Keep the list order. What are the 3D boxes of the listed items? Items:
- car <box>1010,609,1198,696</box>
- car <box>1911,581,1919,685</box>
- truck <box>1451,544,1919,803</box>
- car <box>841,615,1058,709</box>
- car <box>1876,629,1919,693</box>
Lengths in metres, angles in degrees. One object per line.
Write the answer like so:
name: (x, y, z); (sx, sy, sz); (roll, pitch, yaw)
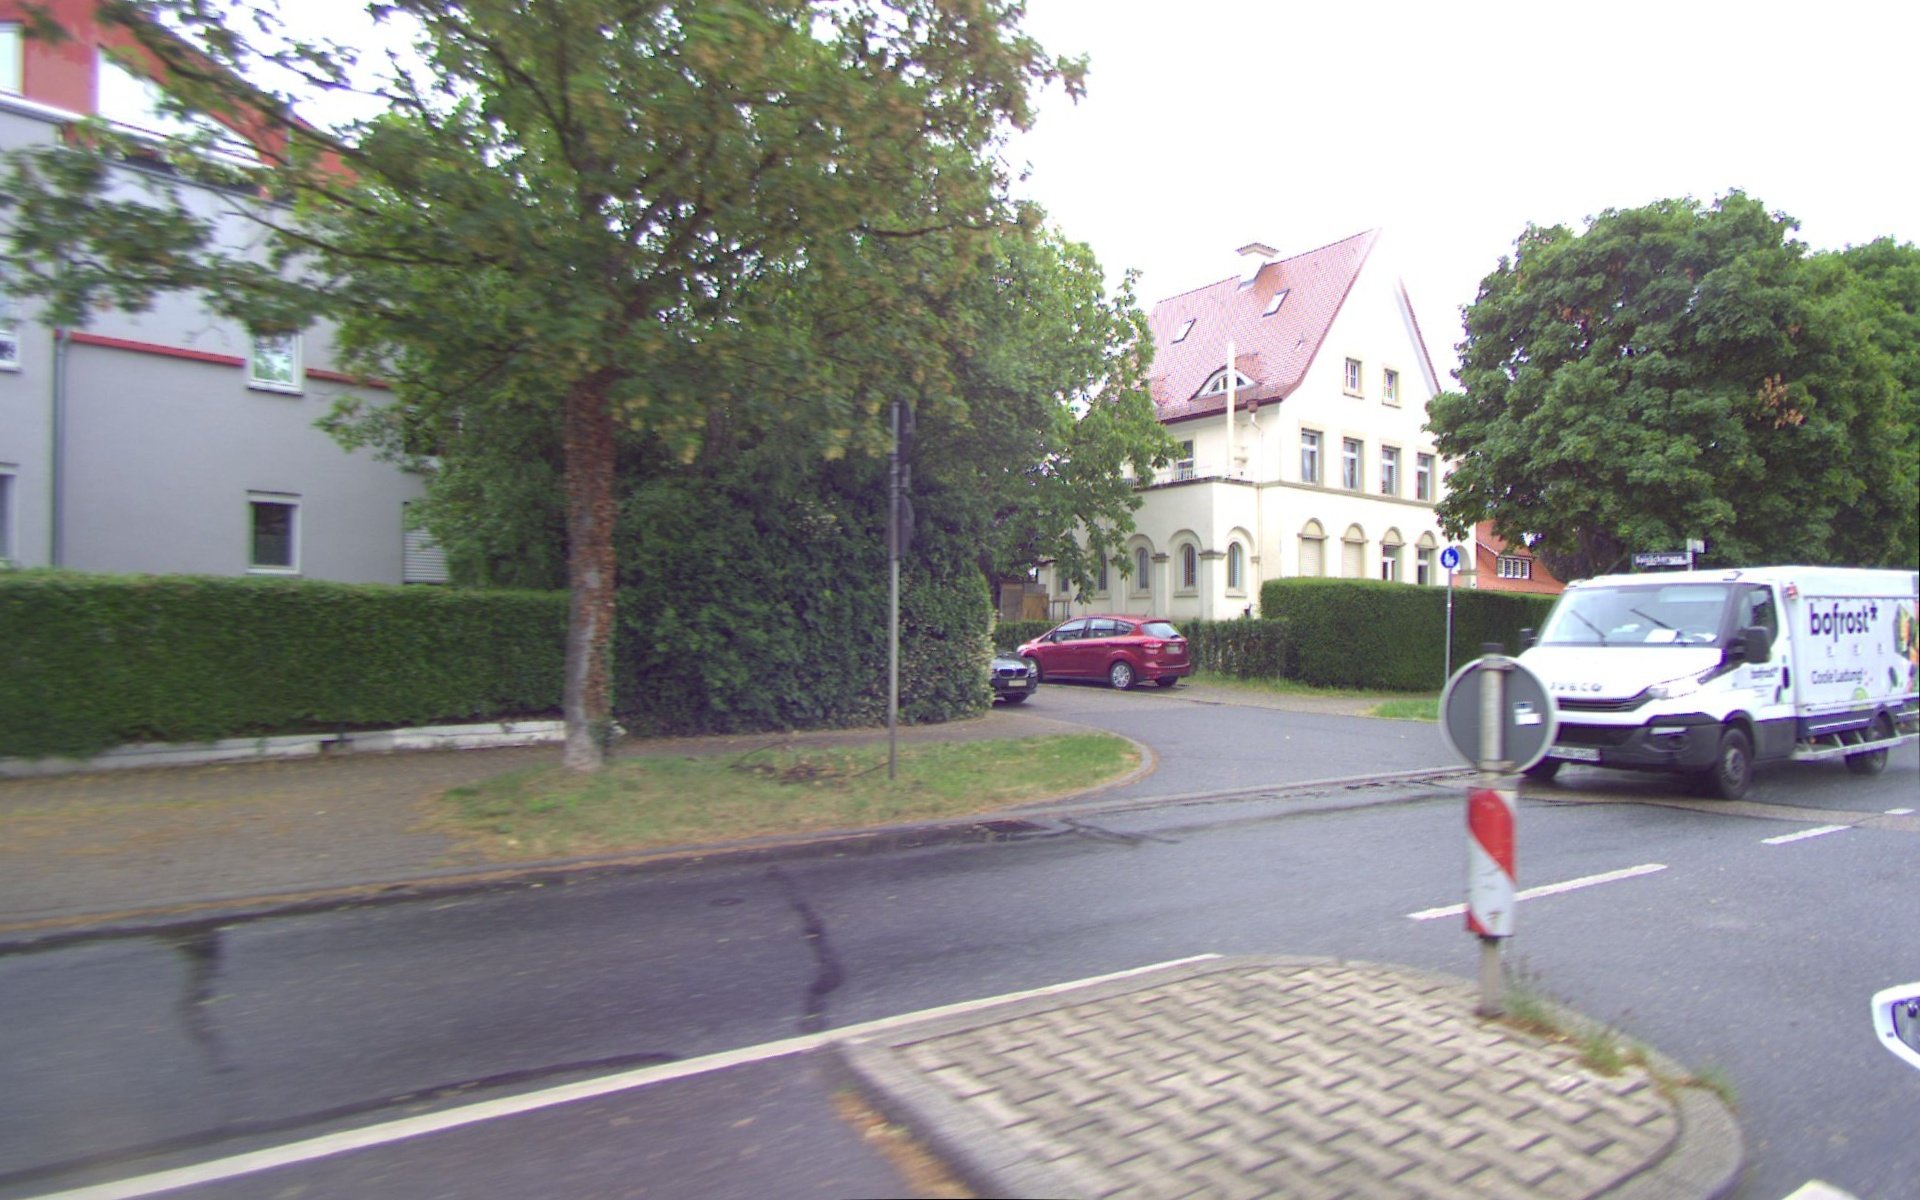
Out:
car: (3.146, 1.092, 22.504); (1.682, 1.674, 3.975); (-2, 2, -45)
car: (28.420, 0.918, 27.929); (5.884, 2.765, 1.978); (1, 0, -38)
truck: (8.474, 0.708, 11.266); (6.389, 2.233, 2.206); (1, -1, -31)
car: (-0.278, 1.045, 18.292); (1.683, 1.493, 3.975); (2, -1, -45)
car: (23.020, 1.416, 23.574); (3.792, 1.427, 1.709); (2, -1, -39)
